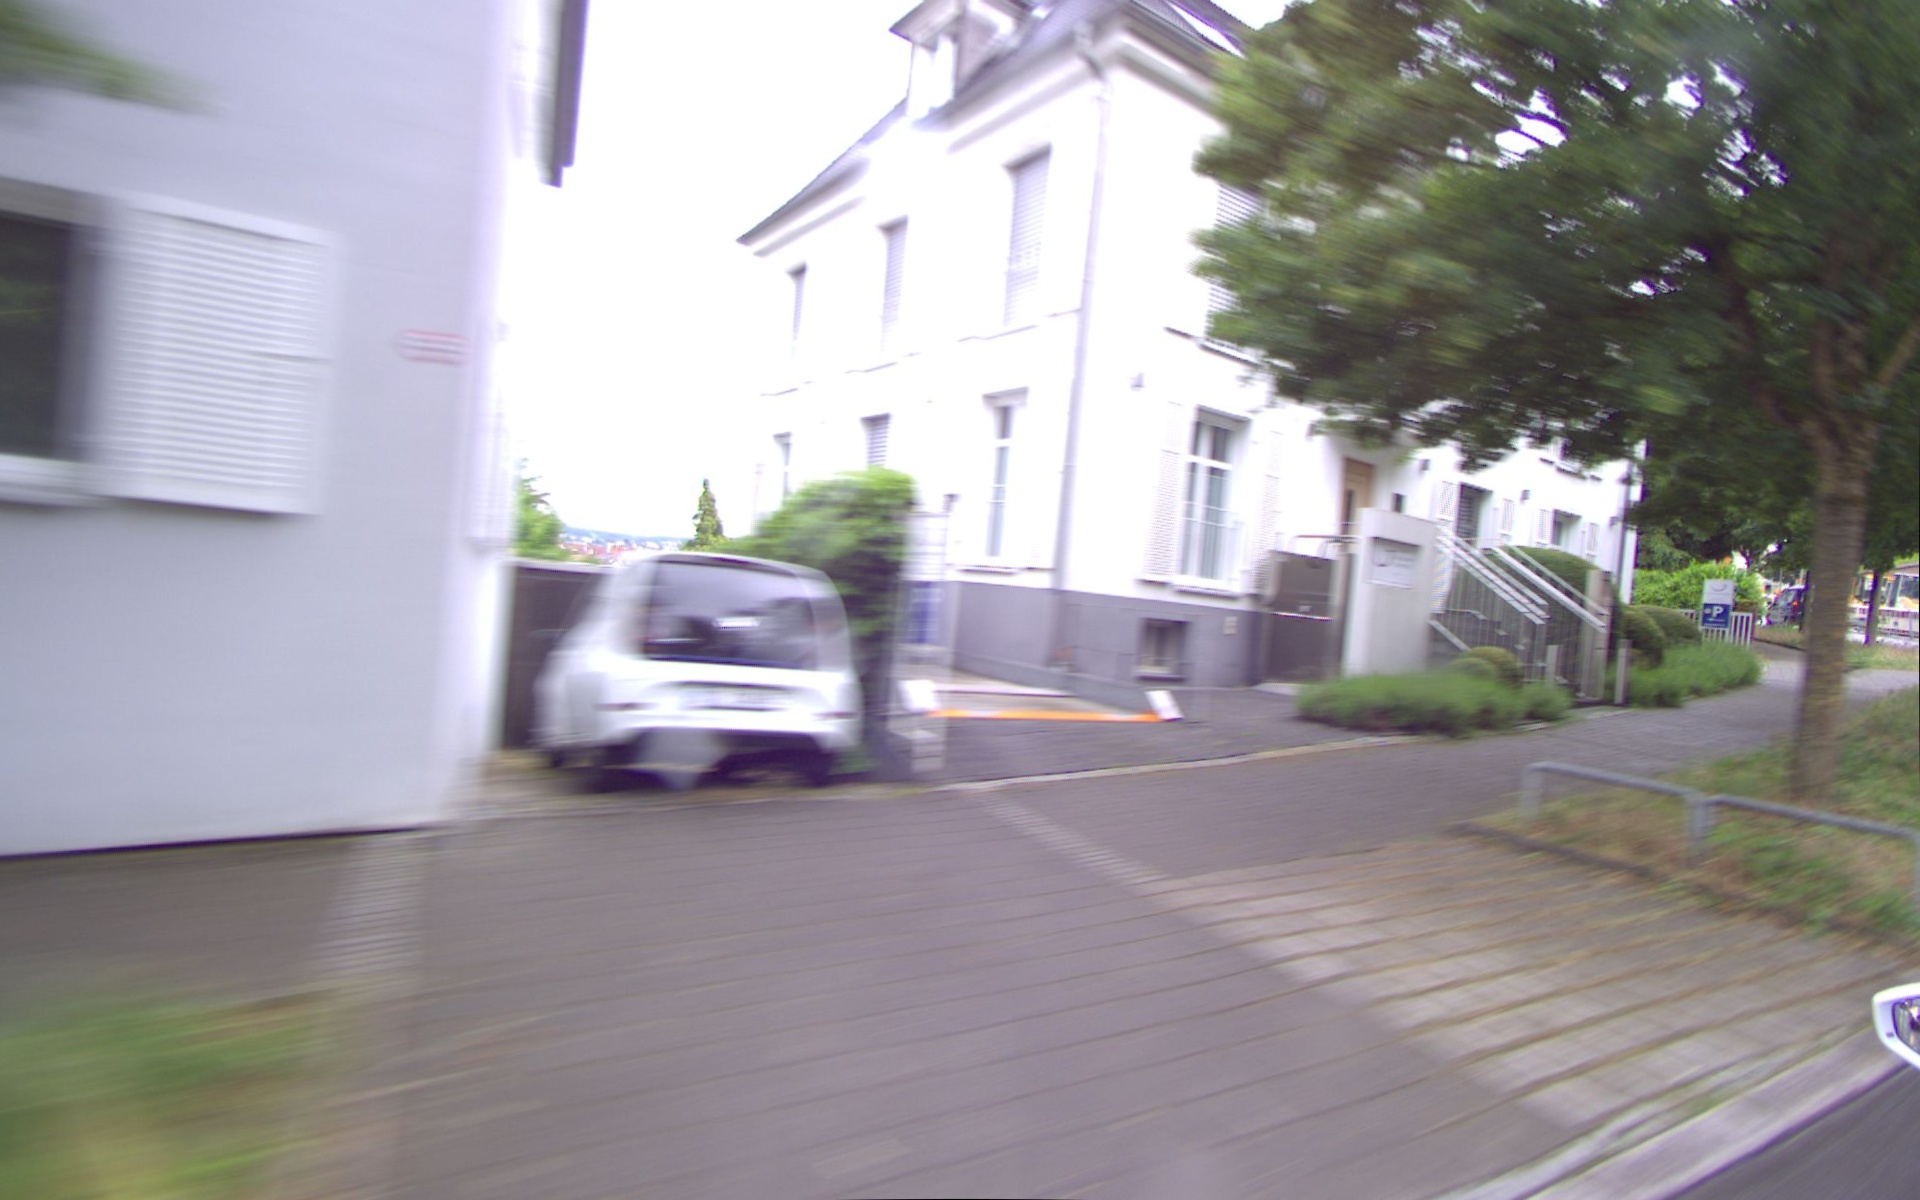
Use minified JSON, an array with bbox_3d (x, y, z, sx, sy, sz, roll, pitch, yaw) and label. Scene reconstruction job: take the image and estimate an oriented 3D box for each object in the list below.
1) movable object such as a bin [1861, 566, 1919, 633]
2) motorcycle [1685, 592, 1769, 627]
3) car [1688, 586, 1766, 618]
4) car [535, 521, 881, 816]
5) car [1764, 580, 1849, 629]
[{"bbox_3d":[40.259,-0.057,42.580,1.963,2.649,3.994,2,4,27],"label":"movable object such as a bin"},{"bbox_3d":[31.817,0.379,41.709,2.558,1.250,0.889,4,2,27],"label":"motorcycle"},{"bbox_3d":[39.346,0.141,51.618,1.691,1.505,4.079,2,-1,14],"label":"car"},{"bbox_3d":[-2.138,0.370,7.560,1.727,1.582,3.974,2,0,-26],"label":"car"},{"bbox_3d":[34.634,0.222,41.206,1.965,1.817,3.992,2,-1,30],"label":"car"}]
